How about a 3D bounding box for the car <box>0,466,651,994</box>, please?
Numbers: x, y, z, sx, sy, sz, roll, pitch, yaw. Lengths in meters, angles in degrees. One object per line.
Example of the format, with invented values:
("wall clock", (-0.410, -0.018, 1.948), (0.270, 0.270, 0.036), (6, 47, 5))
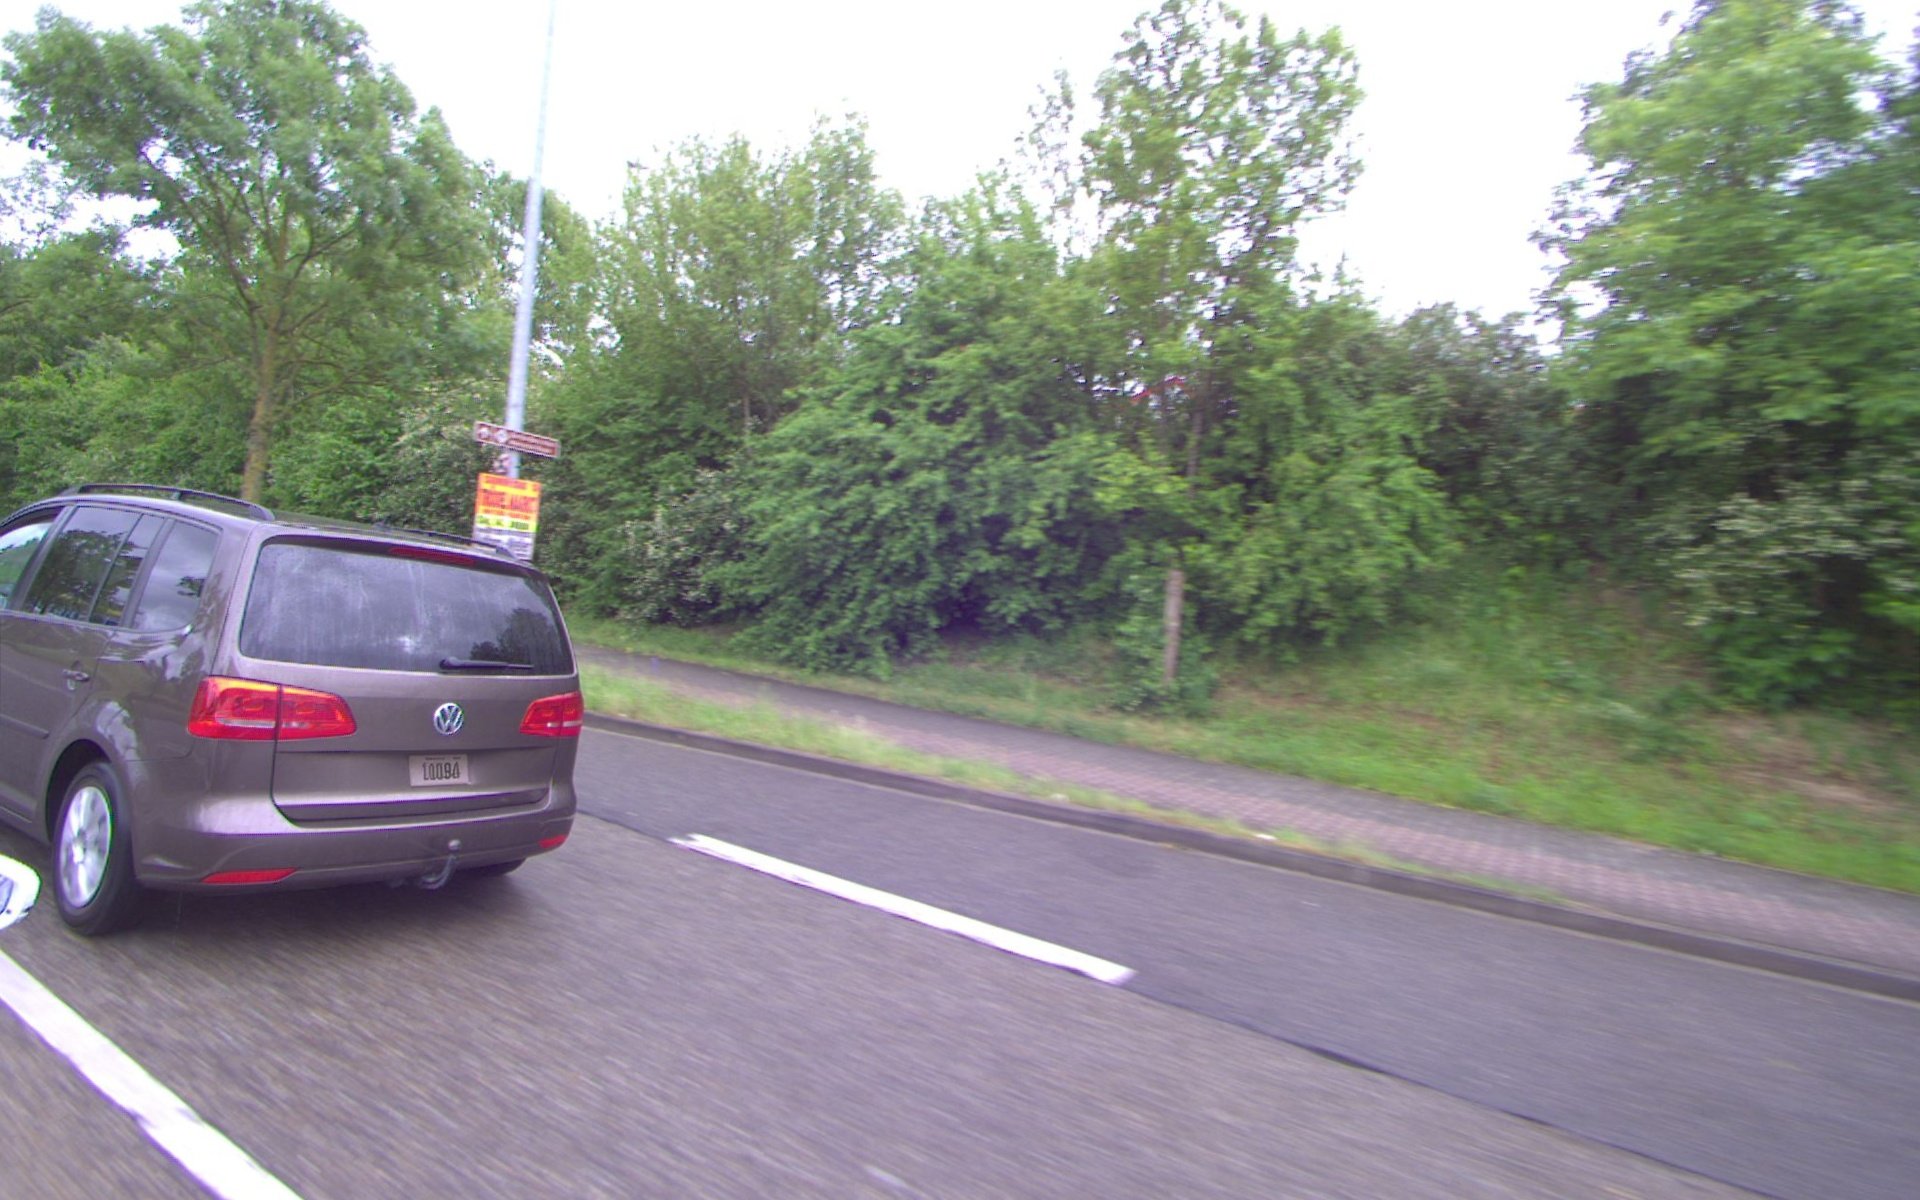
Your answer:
("car", (-3.681, 0.321, 4.936), (4.061, 1.615, 1.717), (6, -1, 31))
